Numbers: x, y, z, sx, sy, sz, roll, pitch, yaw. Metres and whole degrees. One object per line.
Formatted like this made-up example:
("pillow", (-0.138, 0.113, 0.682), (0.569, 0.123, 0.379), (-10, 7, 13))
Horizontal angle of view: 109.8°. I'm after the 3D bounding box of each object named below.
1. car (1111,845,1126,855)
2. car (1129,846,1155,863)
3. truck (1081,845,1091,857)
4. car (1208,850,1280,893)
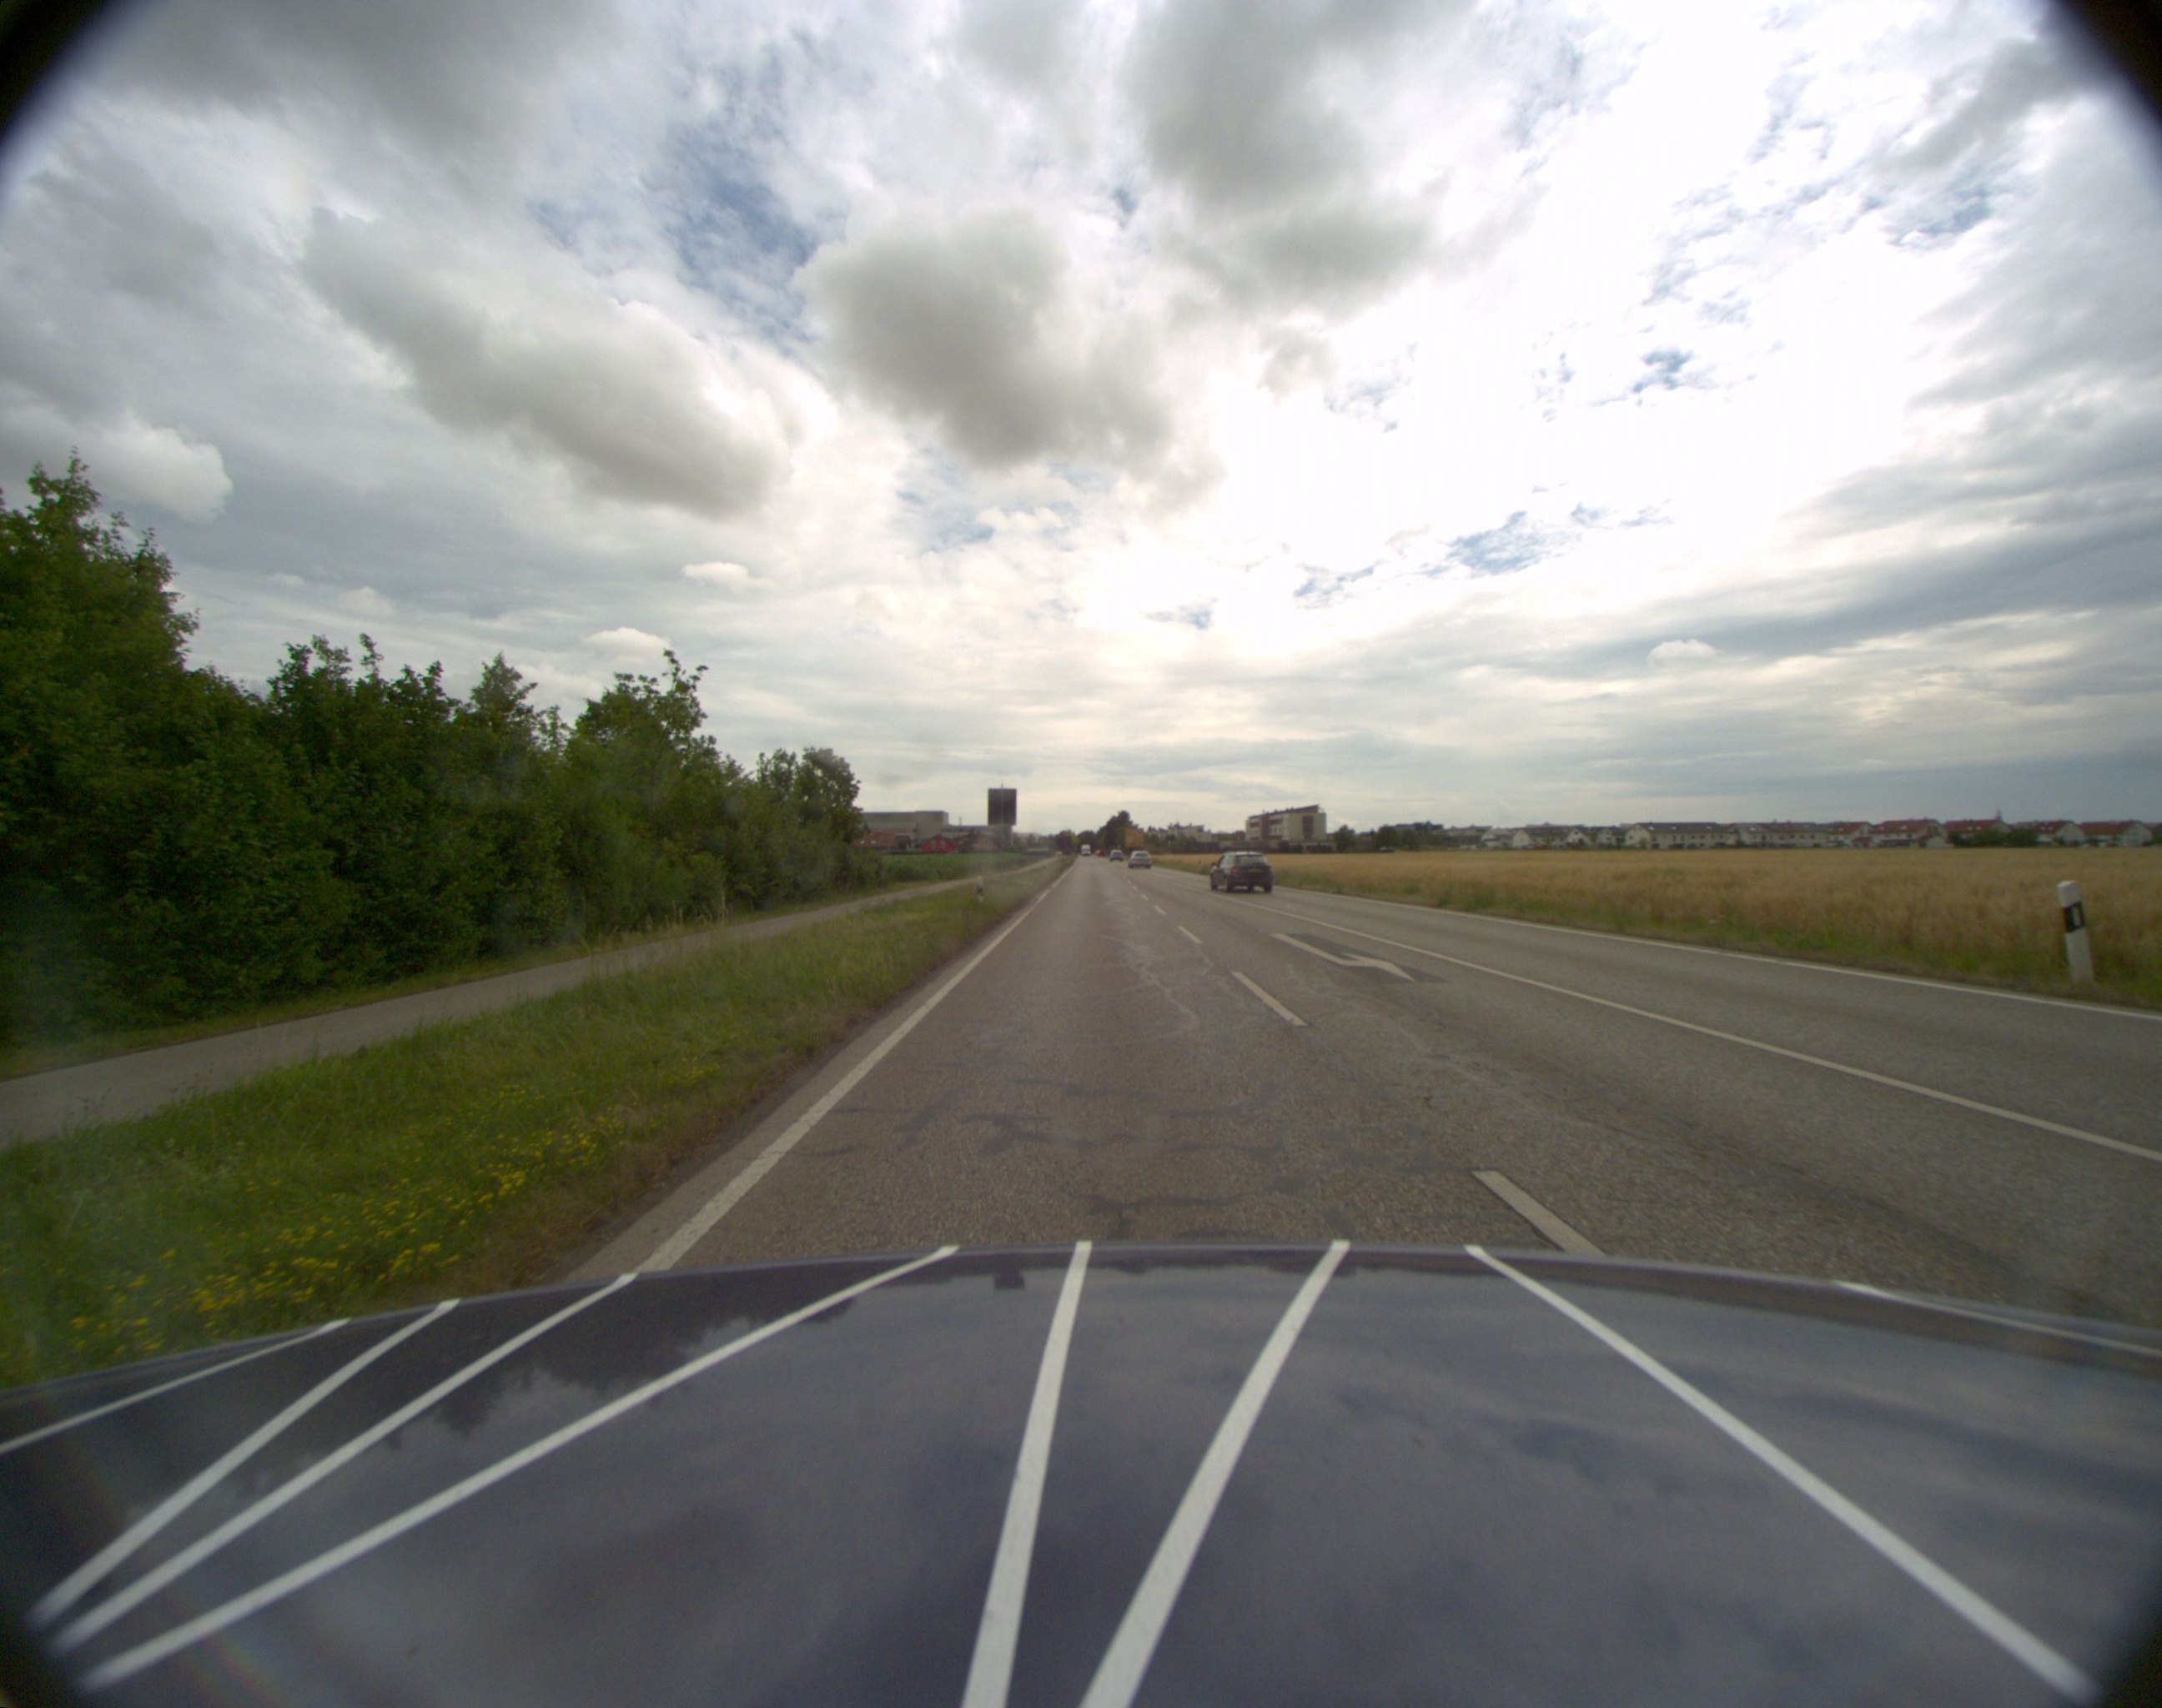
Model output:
("car", (5.499, -0.581, 111.577), (1.856, 1.480, 4.263), (0, 1, -1))
("car", (5.371, 0.013, 67.520), (1.856, 1.480, 4.263), (0, 1, -2))
("truck", (1.504, -0.885, 222.753), (2.813, 3.588, 11.218), (-1, 0, 1))
("car", (6.010, 0.585, 28.502), (1.740, 1.450, 4.131), (-1, 1, -1))
